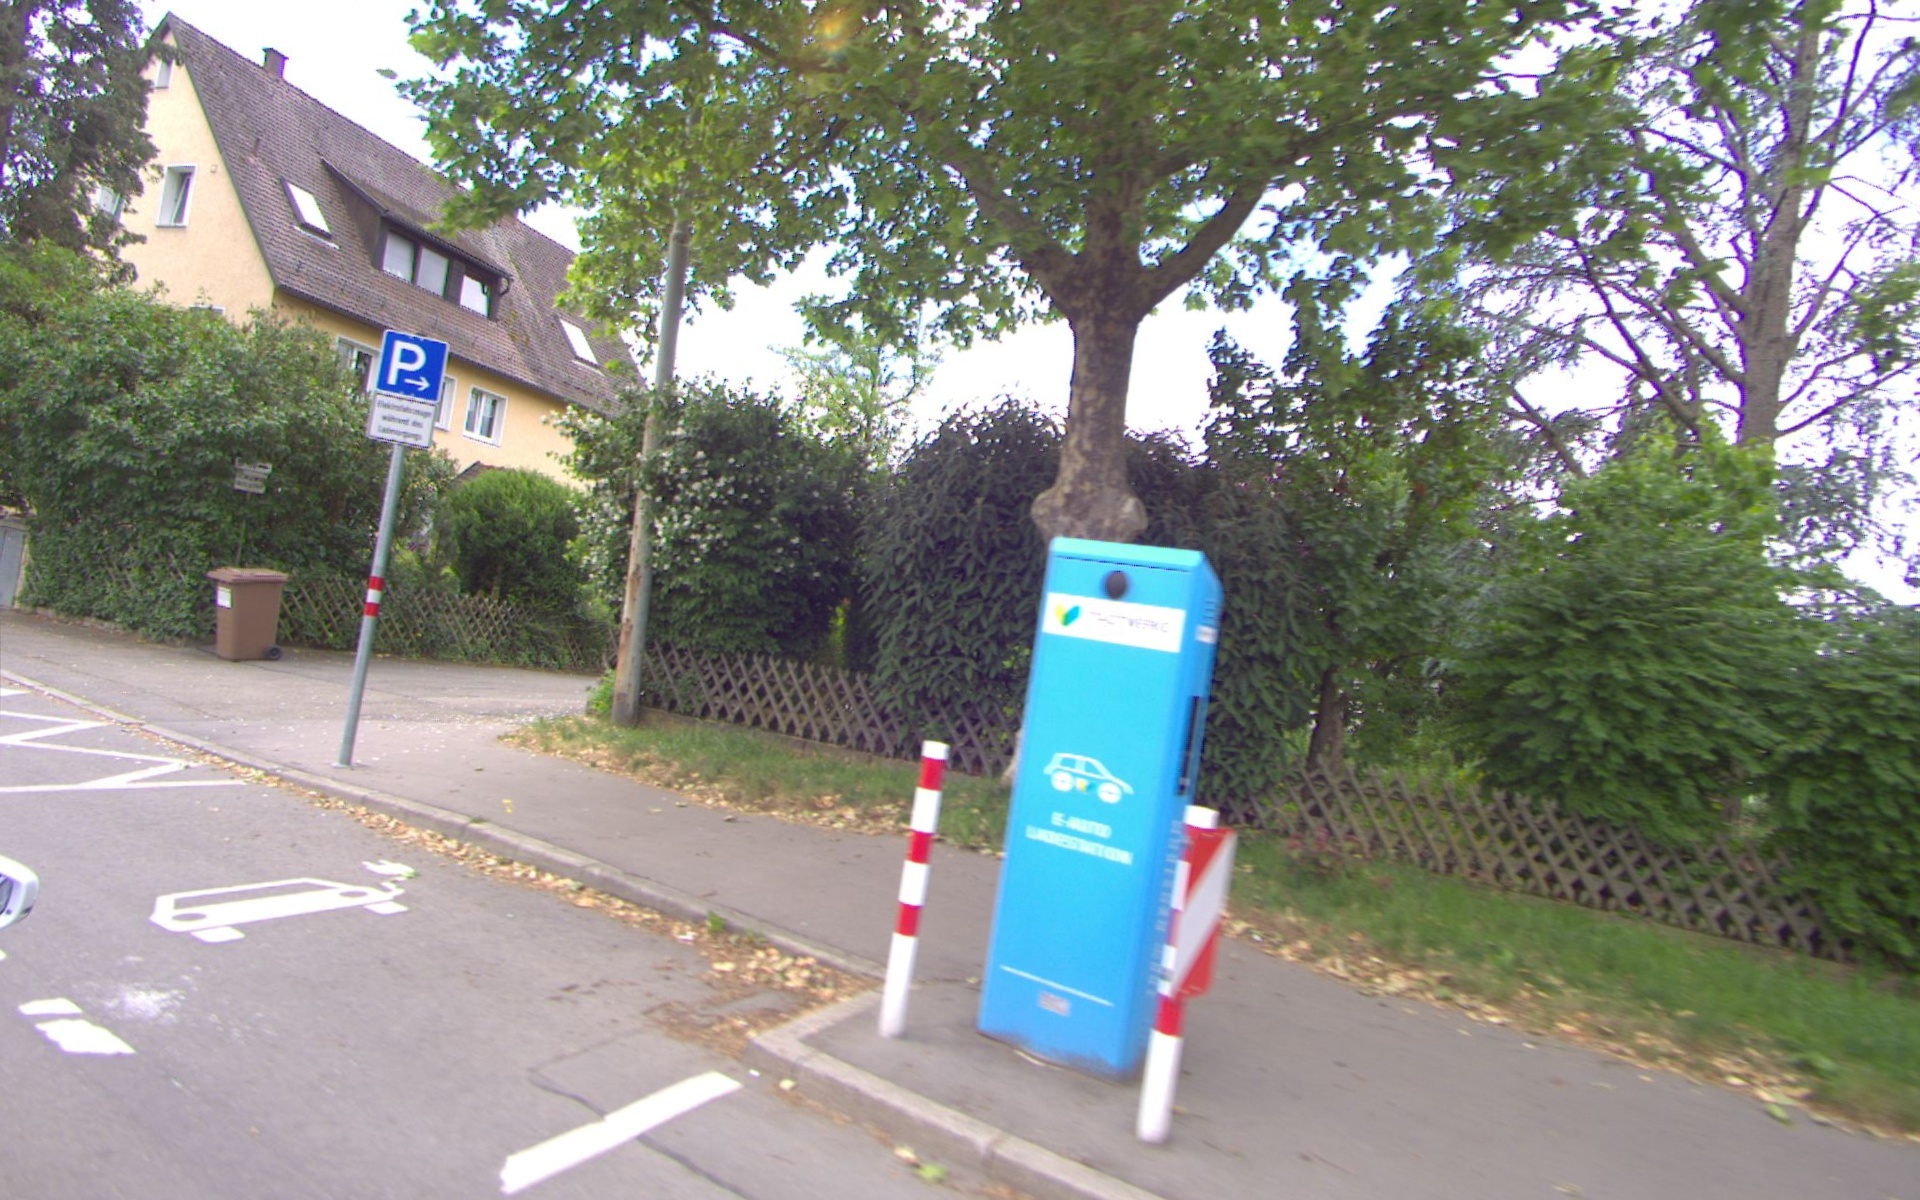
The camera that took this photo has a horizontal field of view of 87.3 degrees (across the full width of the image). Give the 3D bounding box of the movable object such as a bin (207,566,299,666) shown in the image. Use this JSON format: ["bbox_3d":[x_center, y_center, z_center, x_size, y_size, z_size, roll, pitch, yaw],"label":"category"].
[{"bbox_3d":[-8.518,0.194,12.129,0.559,1.081,0.605,7,-3,33],"label":"movable object such as a bin"}]
